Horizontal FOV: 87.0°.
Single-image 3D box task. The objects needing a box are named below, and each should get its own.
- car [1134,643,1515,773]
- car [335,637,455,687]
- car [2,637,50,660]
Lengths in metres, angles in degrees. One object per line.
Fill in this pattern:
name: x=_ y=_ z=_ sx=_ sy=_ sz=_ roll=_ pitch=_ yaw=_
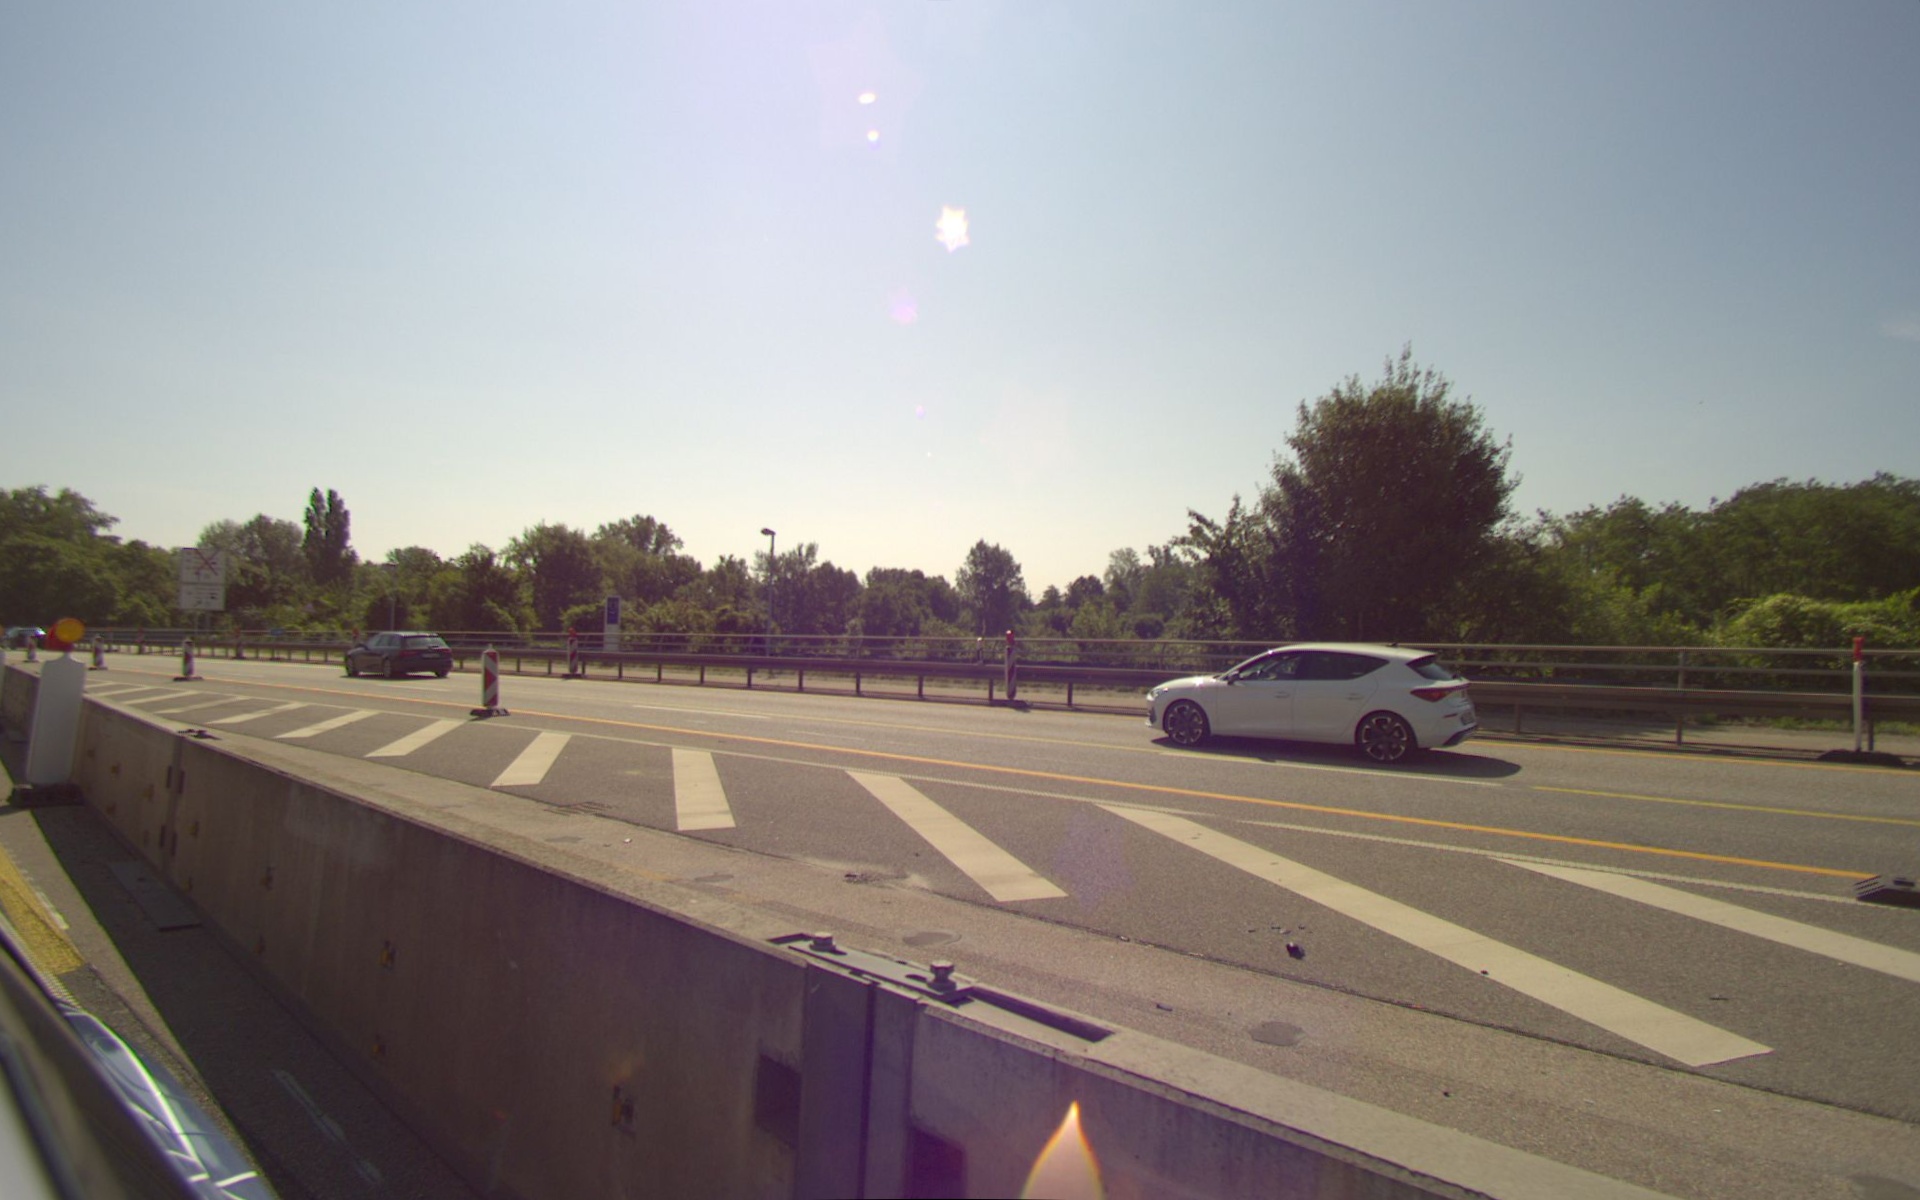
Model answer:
car: x=4.749 y=1.315 z=13.631 sx=4.518 sy=1.408 sz=1.701 roll=-2 pitch=-2 yaw=41
car: x=-17.993 y=1.925 z=32.166 sx=4.640 sy=1.487 sz=1.720 roll=-2 pitch=-3 yaw=39
car: x=-61.659 y=3.148 z=66.786 sx=4.991 sy=1.453 sz=1.650 roll=-1 pitch=-3 yaw=39
